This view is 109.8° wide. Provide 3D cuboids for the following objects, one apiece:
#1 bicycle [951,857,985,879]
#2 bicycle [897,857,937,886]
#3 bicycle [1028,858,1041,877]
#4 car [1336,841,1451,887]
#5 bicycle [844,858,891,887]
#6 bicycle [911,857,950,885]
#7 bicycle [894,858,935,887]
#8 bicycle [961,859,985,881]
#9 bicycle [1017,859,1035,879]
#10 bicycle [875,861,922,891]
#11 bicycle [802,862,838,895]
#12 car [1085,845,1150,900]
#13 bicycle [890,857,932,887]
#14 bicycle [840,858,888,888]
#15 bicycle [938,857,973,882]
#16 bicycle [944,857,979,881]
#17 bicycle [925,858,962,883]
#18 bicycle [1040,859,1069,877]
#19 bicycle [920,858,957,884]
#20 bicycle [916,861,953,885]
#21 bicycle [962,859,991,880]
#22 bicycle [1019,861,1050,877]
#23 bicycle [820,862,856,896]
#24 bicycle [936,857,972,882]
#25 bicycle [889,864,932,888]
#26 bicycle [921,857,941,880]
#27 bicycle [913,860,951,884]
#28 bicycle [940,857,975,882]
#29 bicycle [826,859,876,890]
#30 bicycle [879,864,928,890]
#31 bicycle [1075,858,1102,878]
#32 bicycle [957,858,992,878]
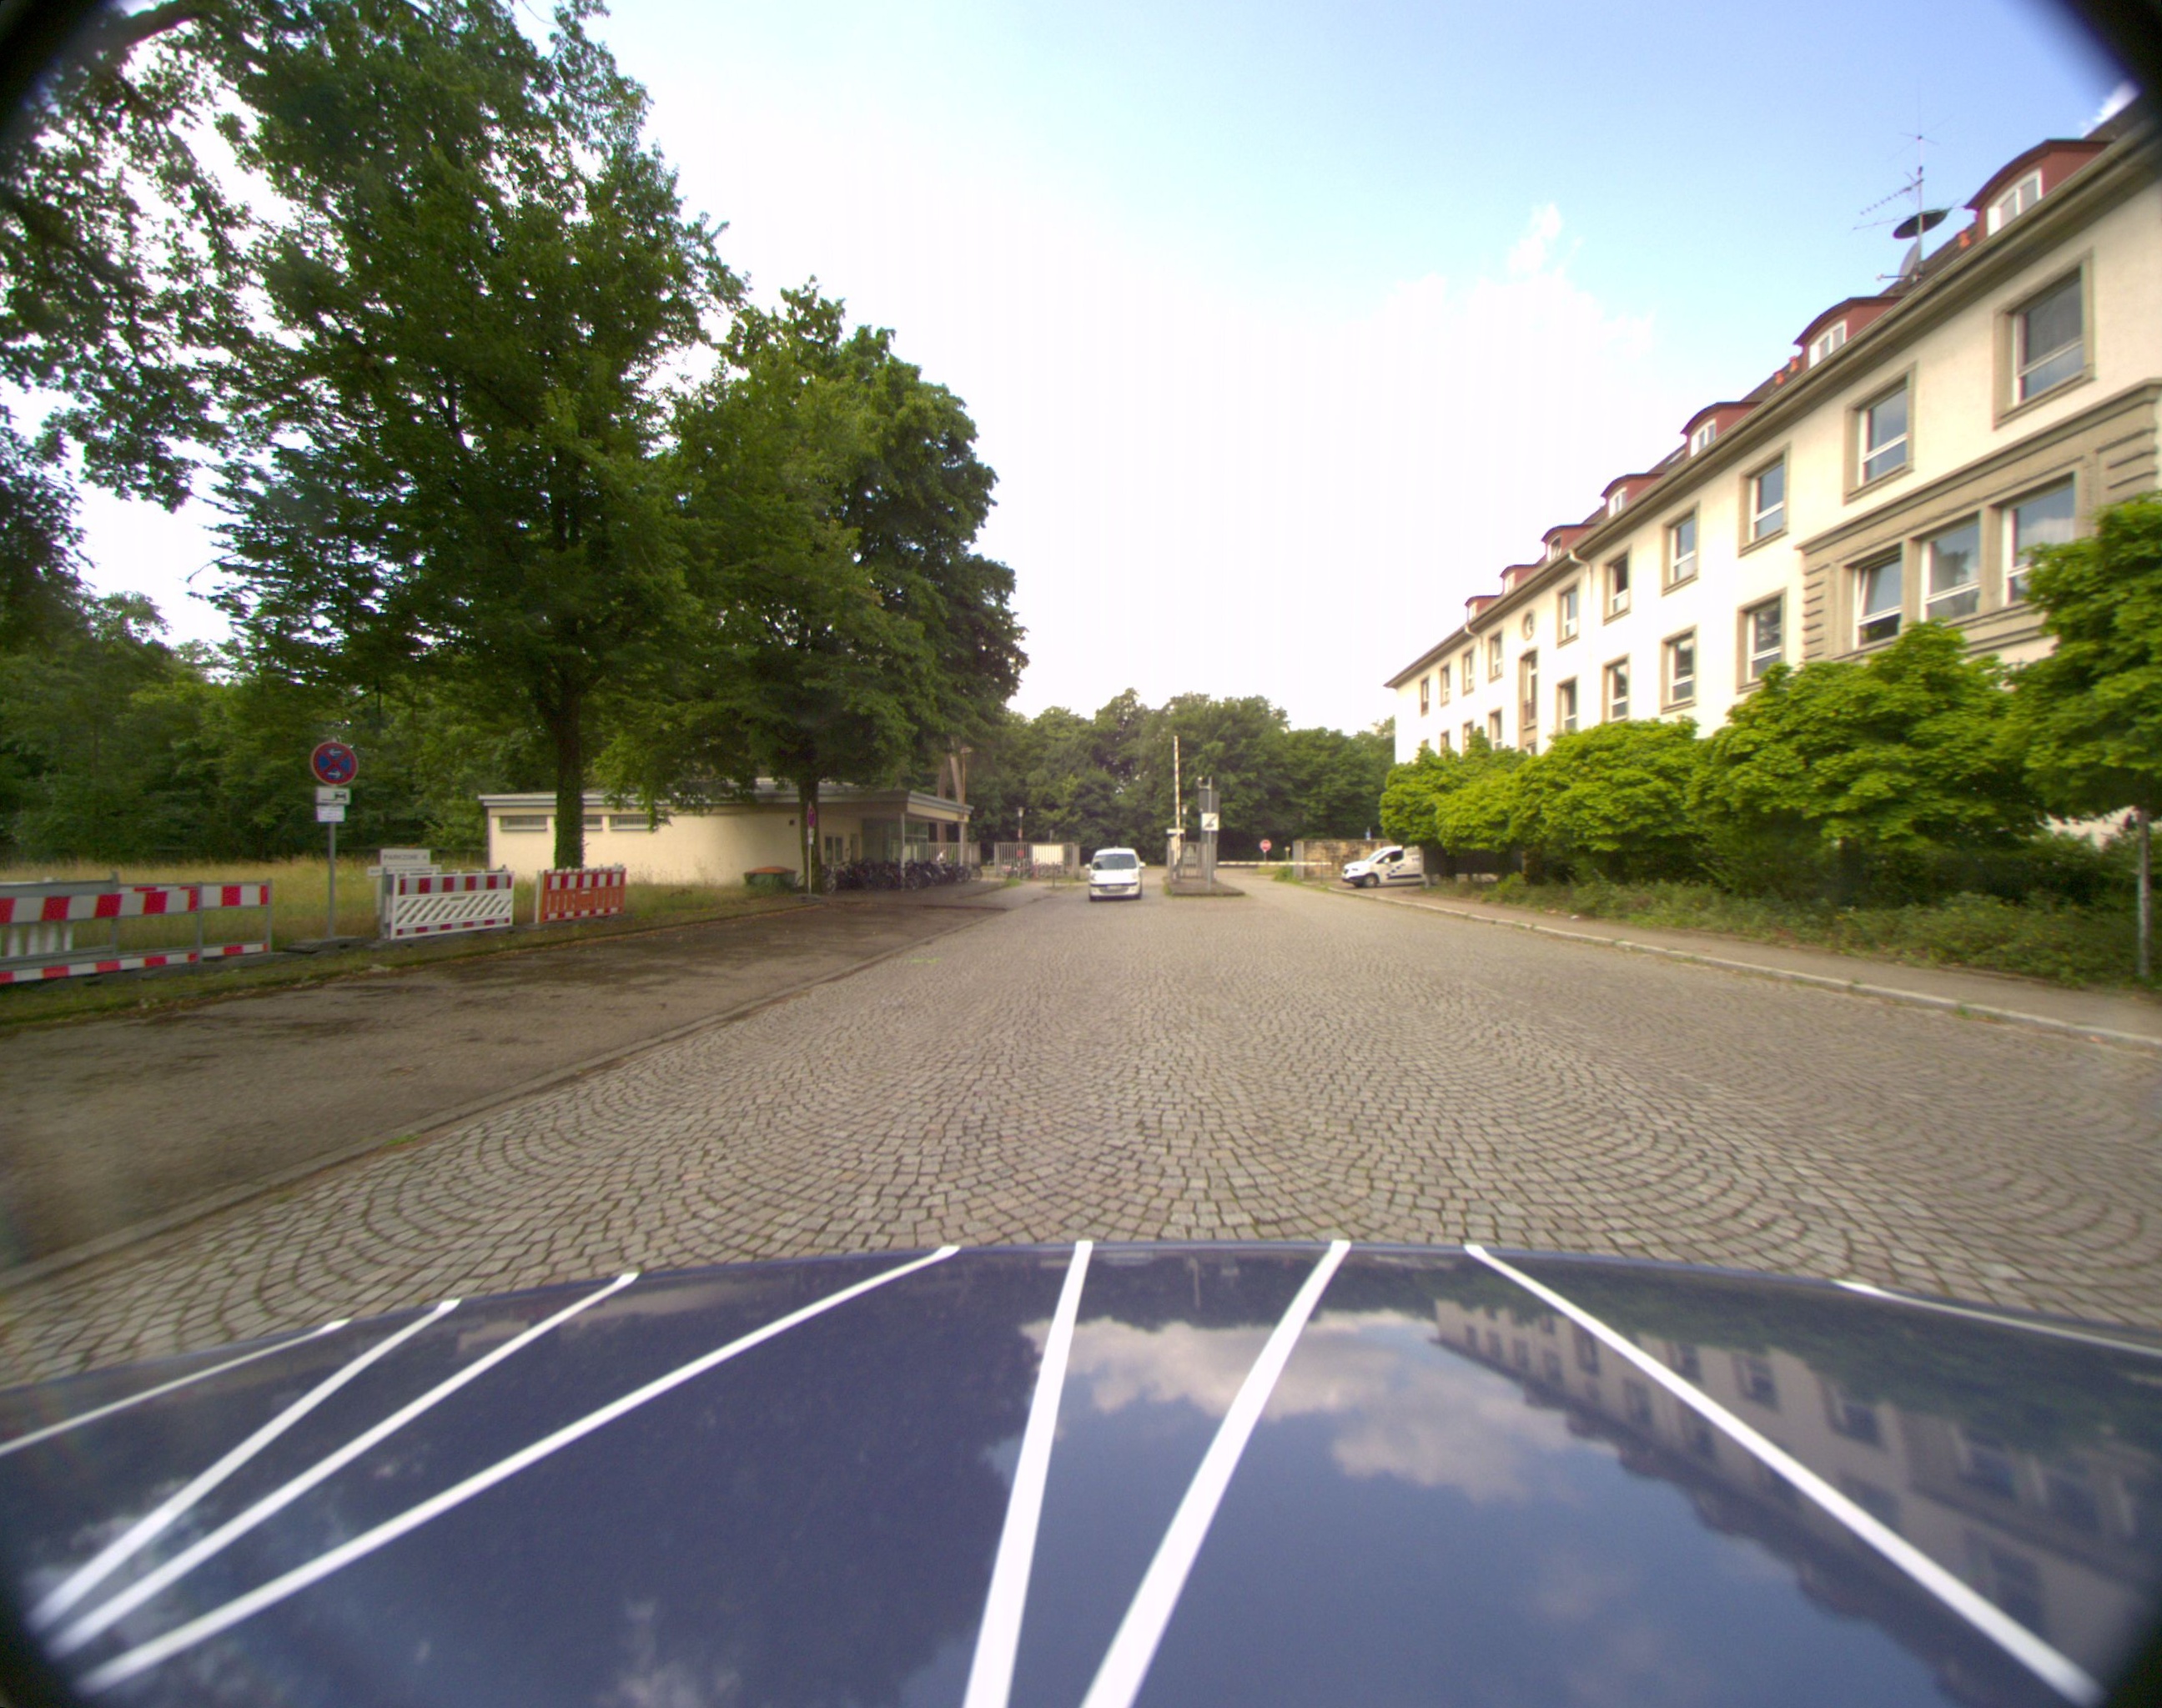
[{"bbox_3d":[-5.887,0.737,39.744,1.744,1.125,0.473,-1,1,-39],"label":"bicycle"},{"bbox_3d":[-7.034,0.764,32.668,1.635,1.183,0.419,1,1,-8],"label":"bicycle"},{"bbox_3d":[-2.669,0.768,43.536,0.474,1.051,1.733,0,1,5],"label":"bicycle"},{"bbox_3d":[13.804,0.415,33.737,4.311,1.796,1.820,-3,1,3],"label":"car"},{"bbox_3d":[-8.851,0.766,31.570,1.745,1.158,0.608,1,1,1],"label":"bicycle"},{"bbox_3d":[-6.621,0.745,33.441,1.635,1.183,0.498,1,1,-8],"label":"bicycle"},{"bbox_3d":[-7.035,0.771,32.054,1.635,1.183,0.419,1,1,-8],"label":"bicycle"},{"bbox_3d":[-5.413,0.786,38.084,1.154,1.056,0.286,-1,1,-16],"label":"bicycle"},{"bbox_3d":[-3.011,0.819,41.668,0.691,1.056,1.566,0,1,5],"label":"bicycle"},{"bbox_3d":[-6.944,0.846,28.984,1.681,1.102,0.338,1,1,-9],"label":"bicycle"},{"bbox_3d":[-9.119,0.838,26.621,0.598,1.110,1.635,2,1,4],"label":"bicycle"},{"bbox_3d":[1.391,0.605,27.202,1.865,1.749,4.151,-2,0,8],"label":"car"},{"bbox_3d":[-7.001,0.736,31.327,1.635,1.183,0.473,1,1,-9],"label":"bicycle"},{"bbox_3d":[-8.746,0.773,30.639,1.745,1.158,0.608,1,1,1],"label":"bicycle"},{"bbox_3d":[-6.088,0.748,36.857,1.617,1.134,0.356,1,1,-3],"label":"bicycle"},{"bbox_3d":[-5.888,0.740,37.510,1.617,1.134,0.356,1,1,-3],"label":"bicycle"},{"bbox_3d":[-6.434,0.769,35.557,1.617,1.134,0.325,1,1,-3],"label":"bicycle"},{"bbox_3d":[-1.643,0.846,46.541,1.729,1.027,0.387,1,1,6],"label":"bicycle"},{"bbox_3d":[-6.527,0.779,34.891,1.595,1.134,0.325,1,1,-3],"label":"bicycle"},{"bbox_3d":[-6.656,0.849,34.521,1.595,1.044,0.325,1,1,-3],"label":"bicycle"},{"bbox_3d":[-5.310,0.774,38.567,1.407,1.040,0.338,-1,1,-22],"label":"bicycle"},{"bbox_3d":[-2.798,0.896,45.909,1.867,0.934,0.503,1,1,0],"label":"bicycle"},{"bbox_3d":[-8.490,0.871,26.598,0.598,1.110,1.635,2,1,4],"label":"bicycle"},{"bbox_3d":[-6.018,0.748,36.043,1.617,1.134,0.325,1,1,-3],"label":"bicycle"},{"bbox_3d":[-6.887,0.887,30.689,1.637,0.970,0.322,1,1,-25],"label":"bicycle"},{"bbox_3d":[-7.342,0.719,37.286,0.491,1.069,1.832,2,1,4],"label":"bicycle"},{"bbox_3d":[-6.678,0.817,34.020,1.635,1.044,0.334,1,1,-10],"label":"bicycle"},{"bbox_3d":[-5.930,0.742,36.422,1.617,1.134,0.325,1,1,-3],"label":"bicycle"},{"bbox_3d":[-8.967,0.790,29.625,1.745,1.158,0.608,1,1,1],"label":"bicycle"},{"bbox_3d":[-6.990,0.904,29.902,1.749,0.970,0.757,1,1,-25],"label":"bicycle"},{"bbox_3d":[0.494,0.891,48.410,1.654,1.223,0.749,1,1,-3],"label":"bicycle"},{"bbox_3d":[-5.478,0.712,39.197,1.753,1.040,0.453,-1,1,-34],"label":"bicycle"}]
